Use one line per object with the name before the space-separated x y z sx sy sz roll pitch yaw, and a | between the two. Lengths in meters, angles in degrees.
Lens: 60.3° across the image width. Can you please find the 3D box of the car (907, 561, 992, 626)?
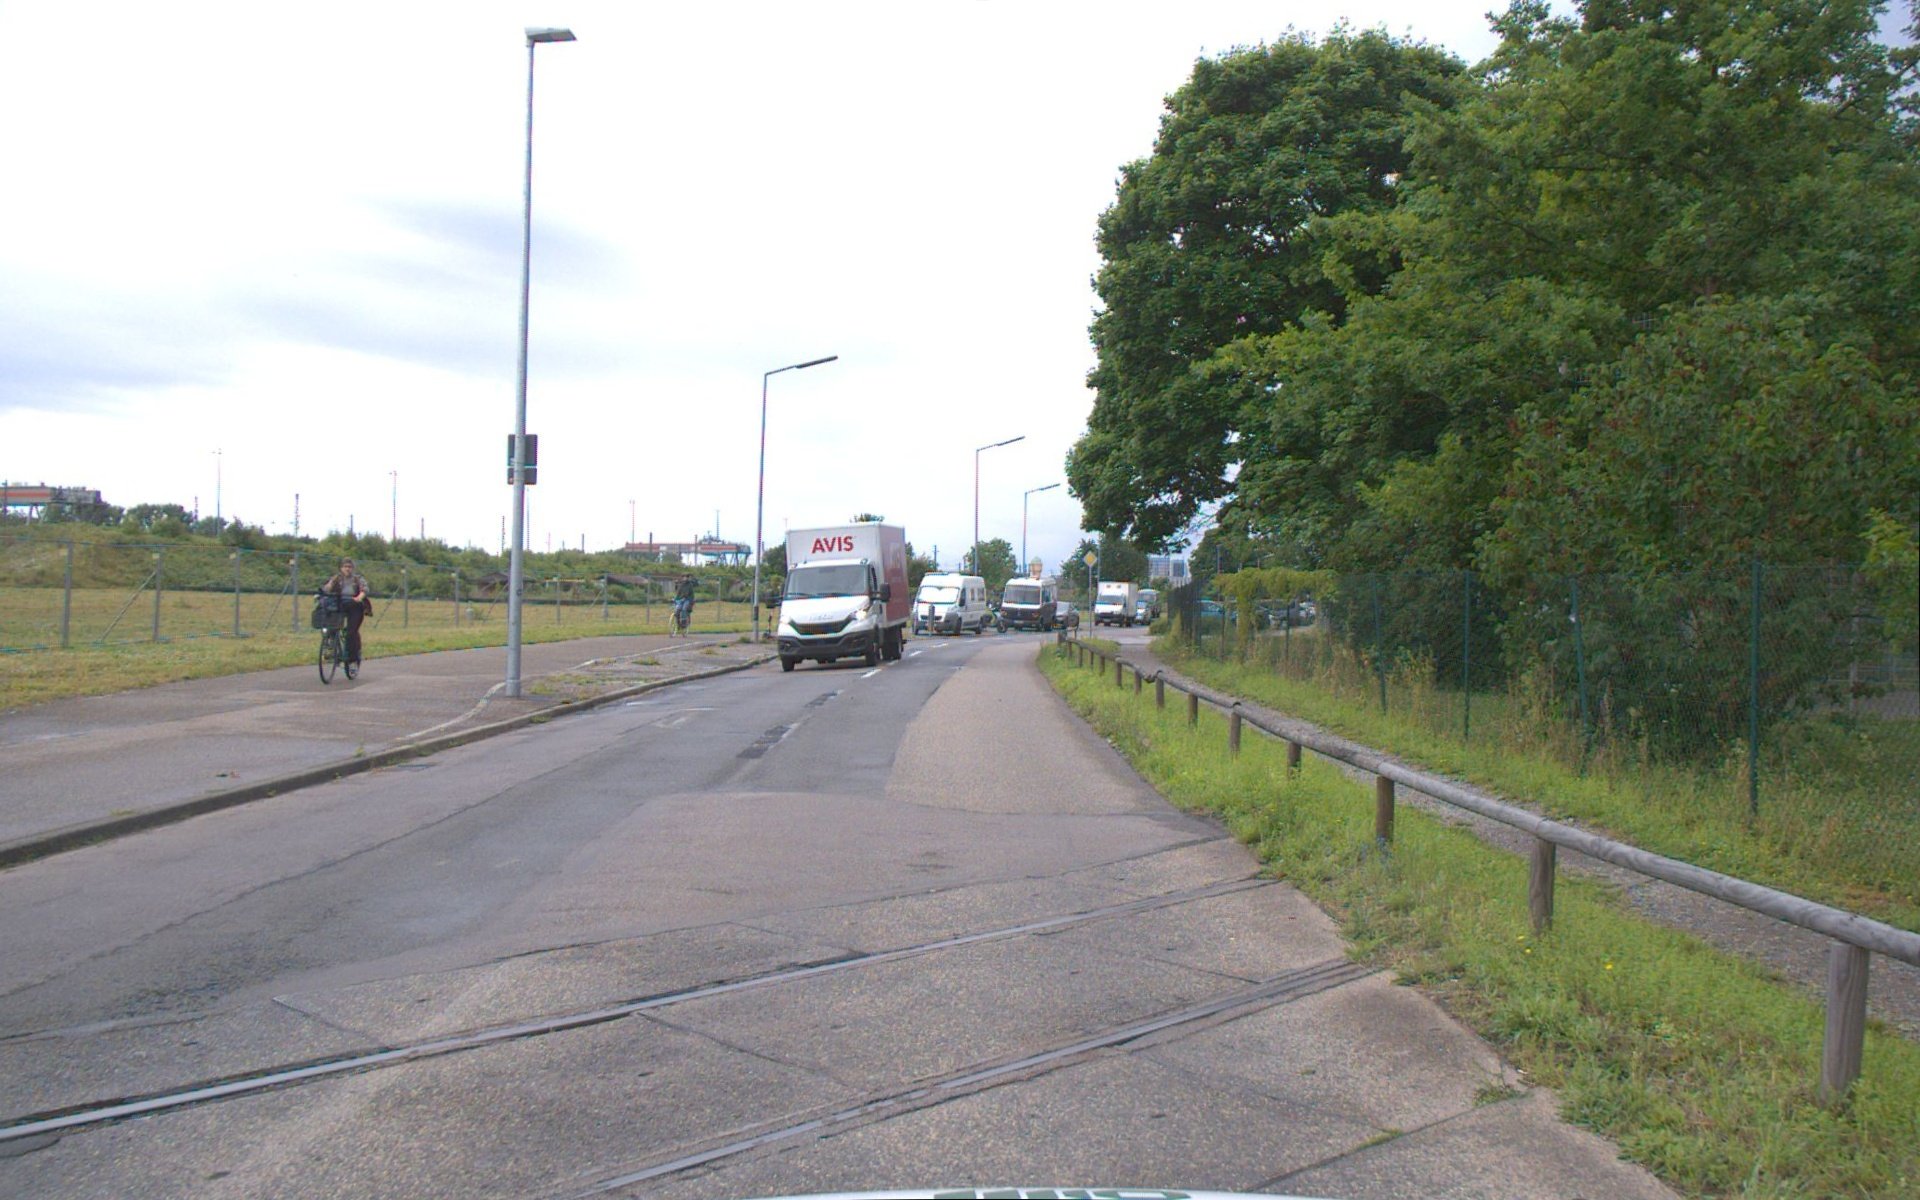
car | -0.363 -0.332 70.103 2.240 2.600 6.416 0 1 12

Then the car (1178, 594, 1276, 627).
car | 13.528 0.528 83.681 4.757 1.526 1.844 1 1 14

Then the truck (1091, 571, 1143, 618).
truck | 10.795 -0.421 113.055 2.409 3.113 8.169 0 1 14

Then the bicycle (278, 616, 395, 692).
bicycle | -8.621 0.723 22.961 0.787 0.923 2.232 0 1 0

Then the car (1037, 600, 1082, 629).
car | 5.627 0.788 93.257 1.742 1.531 4.003 0 1 16

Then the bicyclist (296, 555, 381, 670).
bicyclist | -8.614 0.160 22.966 0.766 1.553 1.094 0 1 -1

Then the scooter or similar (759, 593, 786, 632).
scooter or similar | -6.010 0.399 53.062 0.596 1.203 1.702 2 1 0

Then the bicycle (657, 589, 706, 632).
bicycle | -8.394 0.303 49.939 0.801 1.225 2.559 1 1 6

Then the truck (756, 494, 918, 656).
truck | -2.541 -0.549 36.506 2.291 3.115 7.501 -2 1 5

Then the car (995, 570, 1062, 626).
car | 3.625 -0.156 86.282 2.251 2.782 6.097 1 1 14

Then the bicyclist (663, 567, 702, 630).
bicyclist | -8.382 -0.062 50.017 0.810 1.853 1.331 1 1 8

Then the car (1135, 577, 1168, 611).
car | 15.036 -0.493 129.981 1.962 2.619 4.790 0 1 14

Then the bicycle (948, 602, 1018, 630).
bicycle | 1.102 0.742 77.971 3.054 1.220 1.366 1 1 14

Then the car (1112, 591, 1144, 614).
car | 12.373 0.169 121.687 1.717 1.551 4.003 0 1 14

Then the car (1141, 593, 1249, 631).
car | 10.861 0.553 76.453 4.757 1.644 1.844 1 1 14
